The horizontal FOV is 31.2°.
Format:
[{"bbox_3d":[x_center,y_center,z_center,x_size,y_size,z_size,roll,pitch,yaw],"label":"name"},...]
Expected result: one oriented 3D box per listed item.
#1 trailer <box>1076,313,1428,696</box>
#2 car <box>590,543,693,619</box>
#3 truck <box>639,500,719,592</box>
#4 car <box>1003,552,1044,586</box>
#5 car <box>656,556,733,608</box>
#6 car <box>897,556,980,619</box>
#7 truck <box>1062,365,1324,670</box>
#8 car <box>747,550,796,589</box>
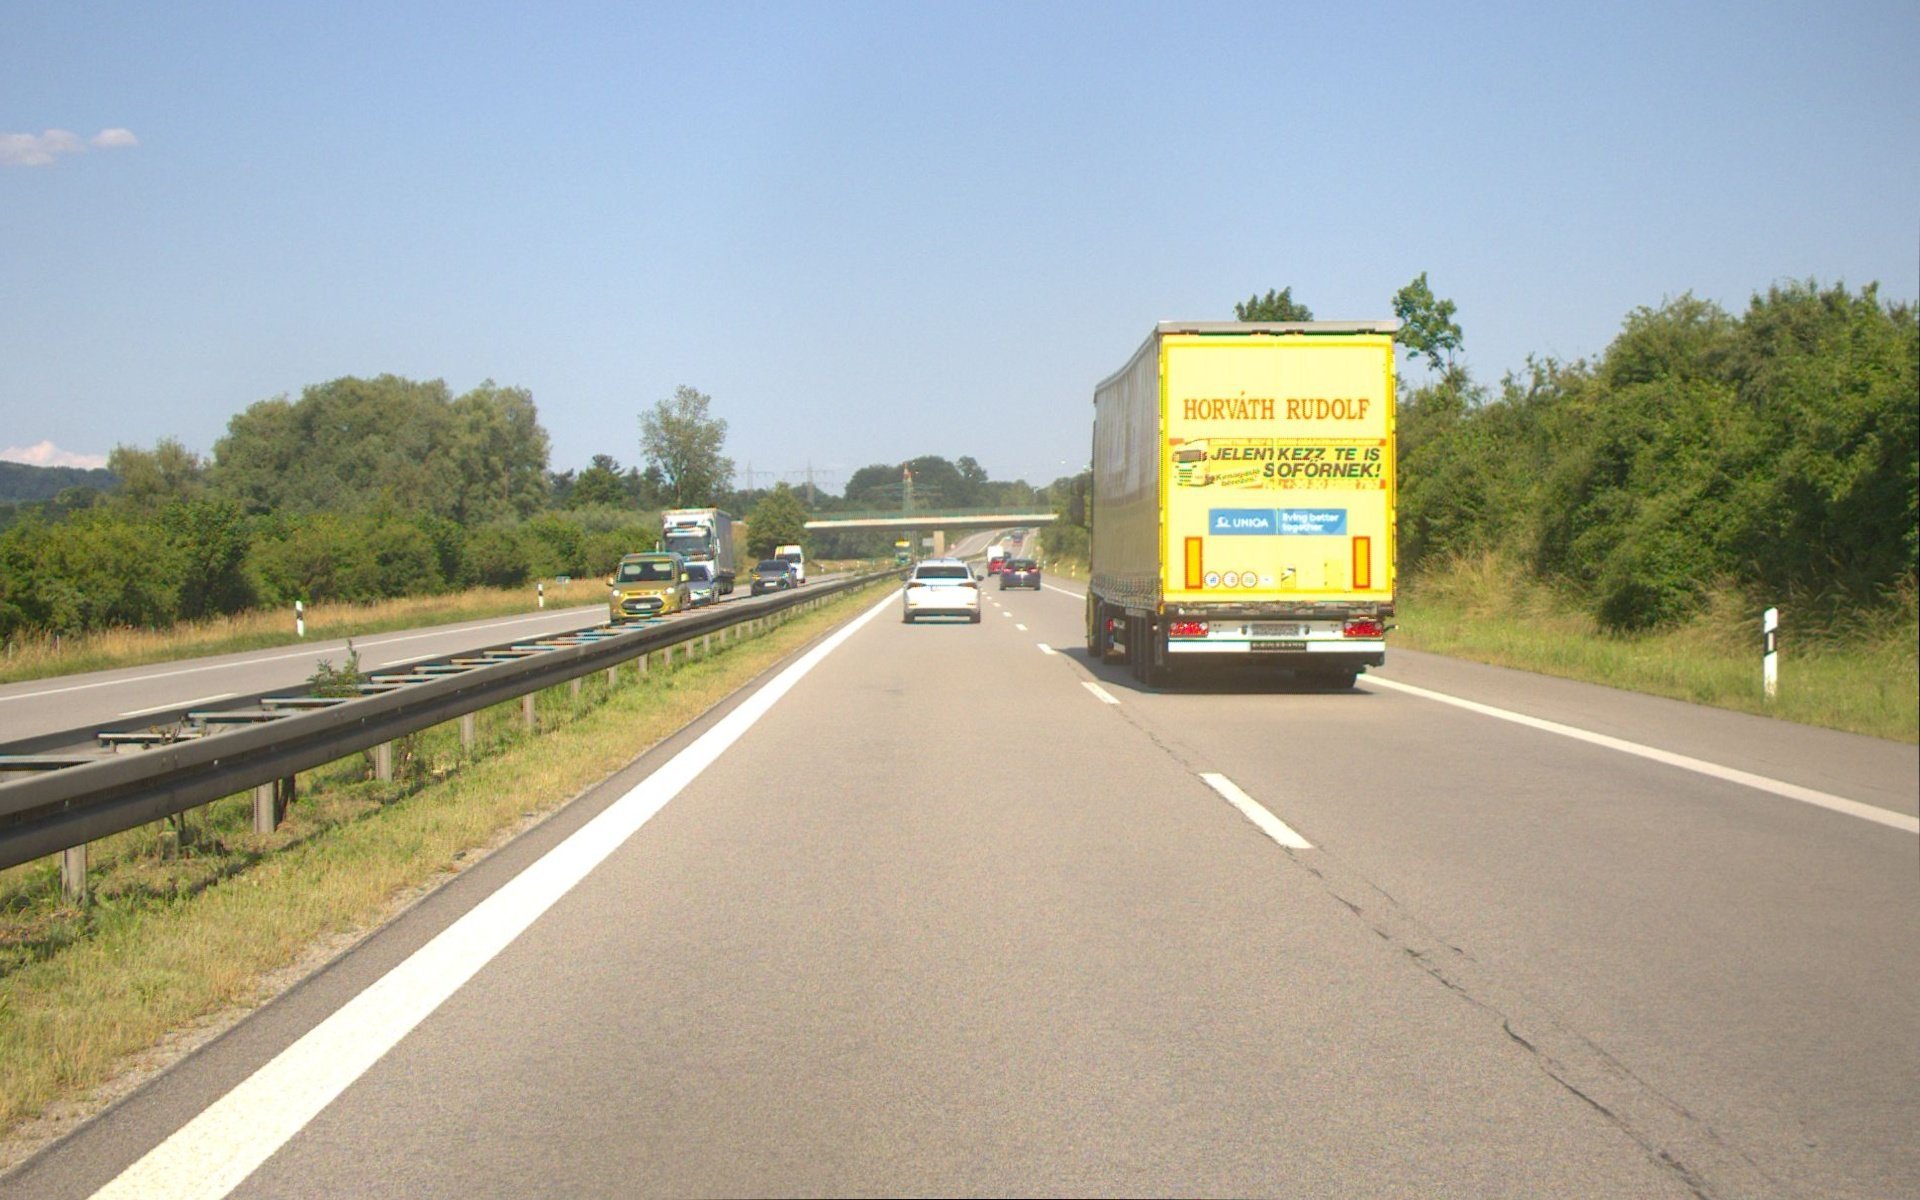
[{"bbox_3d":[3.345,-1.085,43.334,3.184,4.045,13.187,1,1,0],"label":"trailer"},{"bbox_3d":[-8.085,-0.496,87.702,1.950,1.765,4.748,-4,0,1],"label":"car"},{"bbox_3d":[-13.224,-2.525,162.144,3.168,4.100,6.389,-3,1,-1],"label":"truck"},{"bbox_3d":[2.932,-1.436,159.305,1.843,1.515,4.000,1,1,0],"label":"car"},{"bbox_3d":[-7.989,-0.556,103.664,1.767,1.415,4.470,-4,0,1],"label":"car"},{"bbox_3d":[-0.482,-0.300,79.701,1.843,1.411,4.000,1,1,0],"label":"car"},{"bbox_3d":[3.257,-1.153,49.875,3.168,4.100,6.389,1,0,-1],"label":"truck"},{"bbox_3d":[-8.158,-1.330,149.225,1.725,1.577,4.767,-4,1,0],"label":"car"}]
